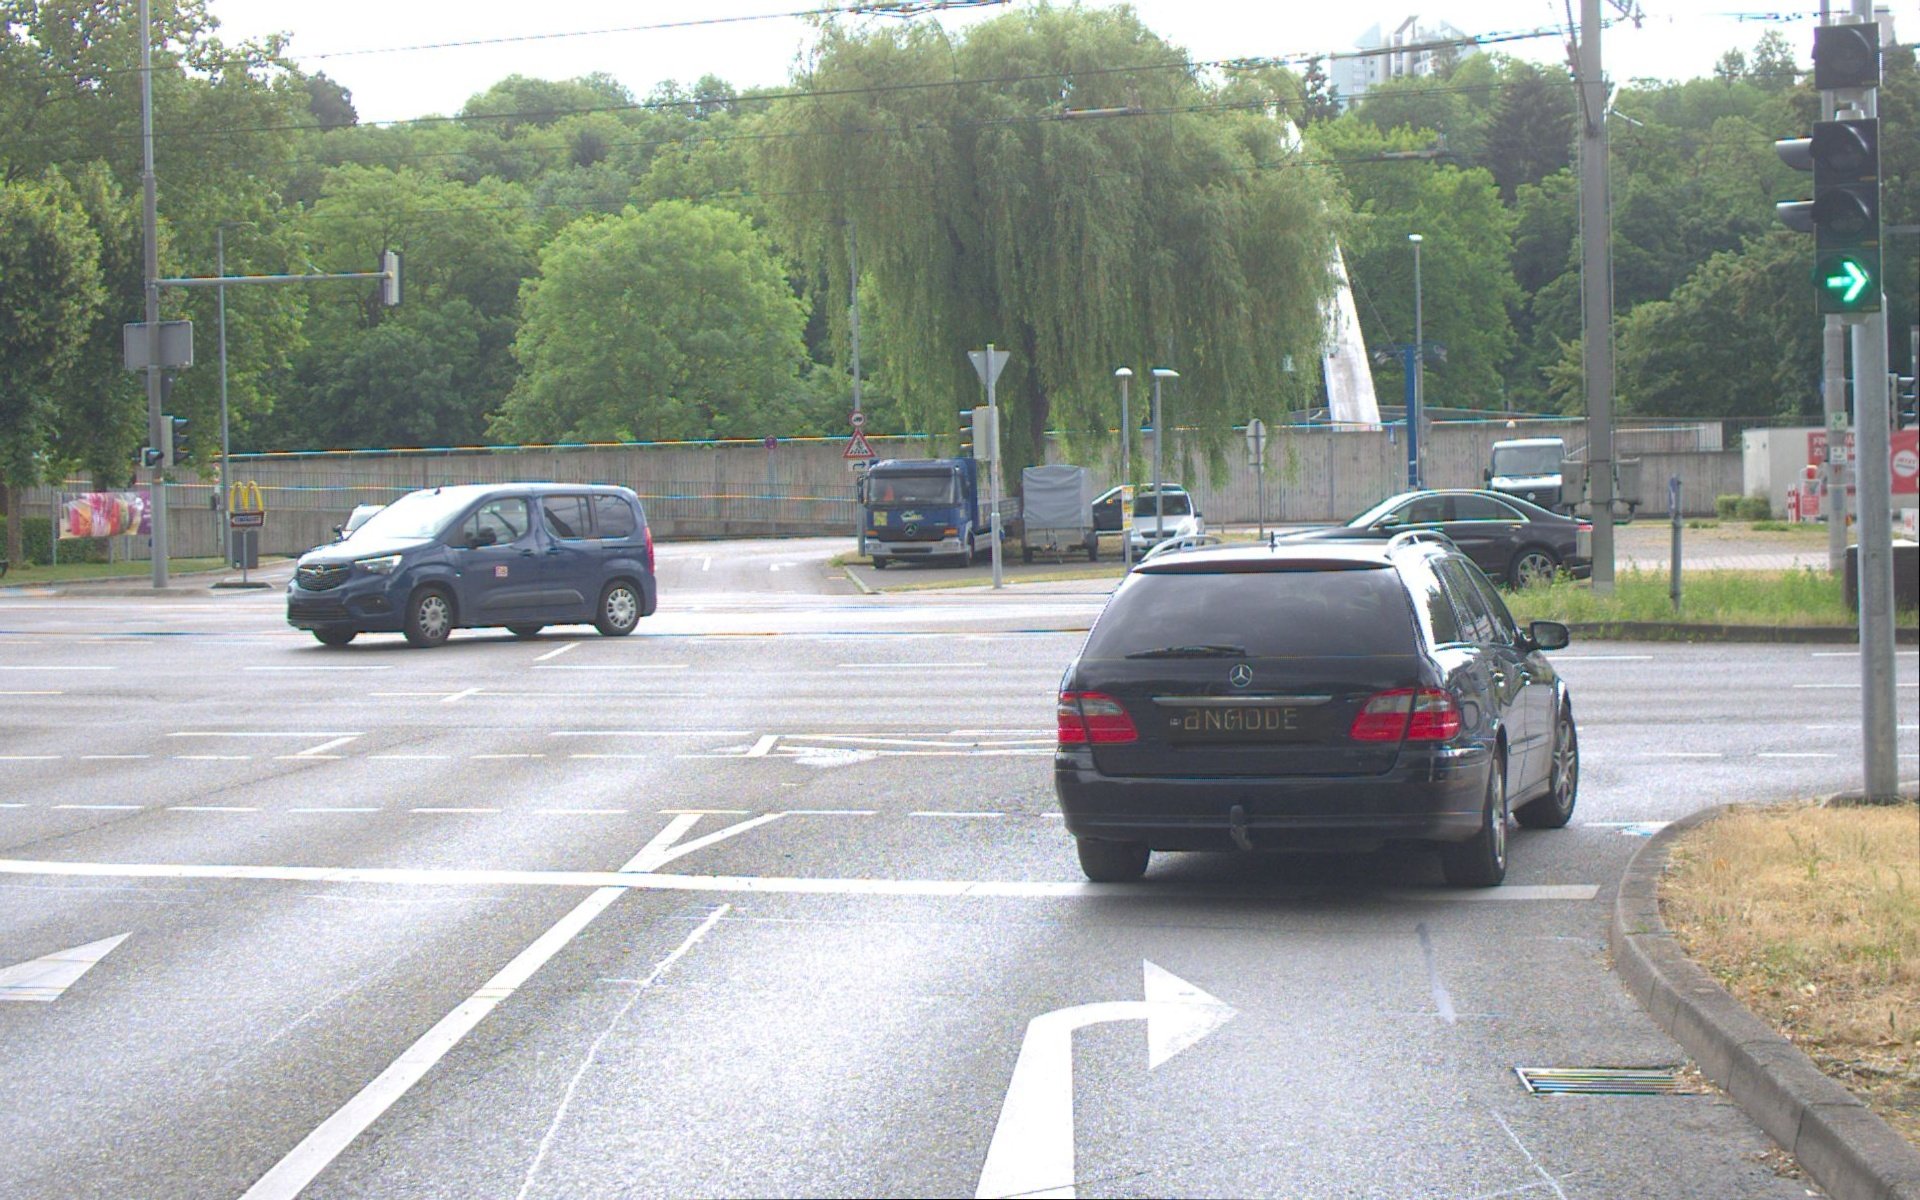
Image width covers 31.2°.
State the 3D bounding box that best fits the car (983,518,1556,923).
[{"bbox_3d":[1.575,0.408,15.692,1.824,1.504,4.571,0,2,15],"label":"car"}]

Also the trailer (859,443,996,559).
[{"bbox_3d":[-0.719,-2.300,80.569,2.353,2.573,4.918,-2,1,9],"label":"trailer"}]

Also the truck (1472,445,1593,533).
[{"bbox_3d":[13.992,-2.692,84.281,2.235,2.007,5.240,-2,1,2],"label":"truck"}]

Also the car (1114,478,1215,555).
[{"bbox_3d":[4.849,-1.998,81.127,1.994,1.744,3.999,-1,2,9],"label":"car"}]

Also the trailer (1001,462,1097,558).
[{"bbox_3d":[2.166,-2.154,82.514,1.994,2.176,3.999,-2,1,5],"label":"trailer"}]

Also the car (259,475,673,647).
[{"bbox_3d":[-5.443,-0.480,38.367,1.606,1.768,4.548,1,2,43],"label":"car"}]

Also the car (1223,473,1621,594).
[{"bbox_3d":[6.236,-0.913,46.600,5.050,1.518,1.744,-1,2,-7],"label":"car"}]

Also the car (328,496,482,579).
[{"bbox_3d":[-11.517,-1.328,71.655,1.994,1.634,3.999,-1,2,9],"label":"car"}]
